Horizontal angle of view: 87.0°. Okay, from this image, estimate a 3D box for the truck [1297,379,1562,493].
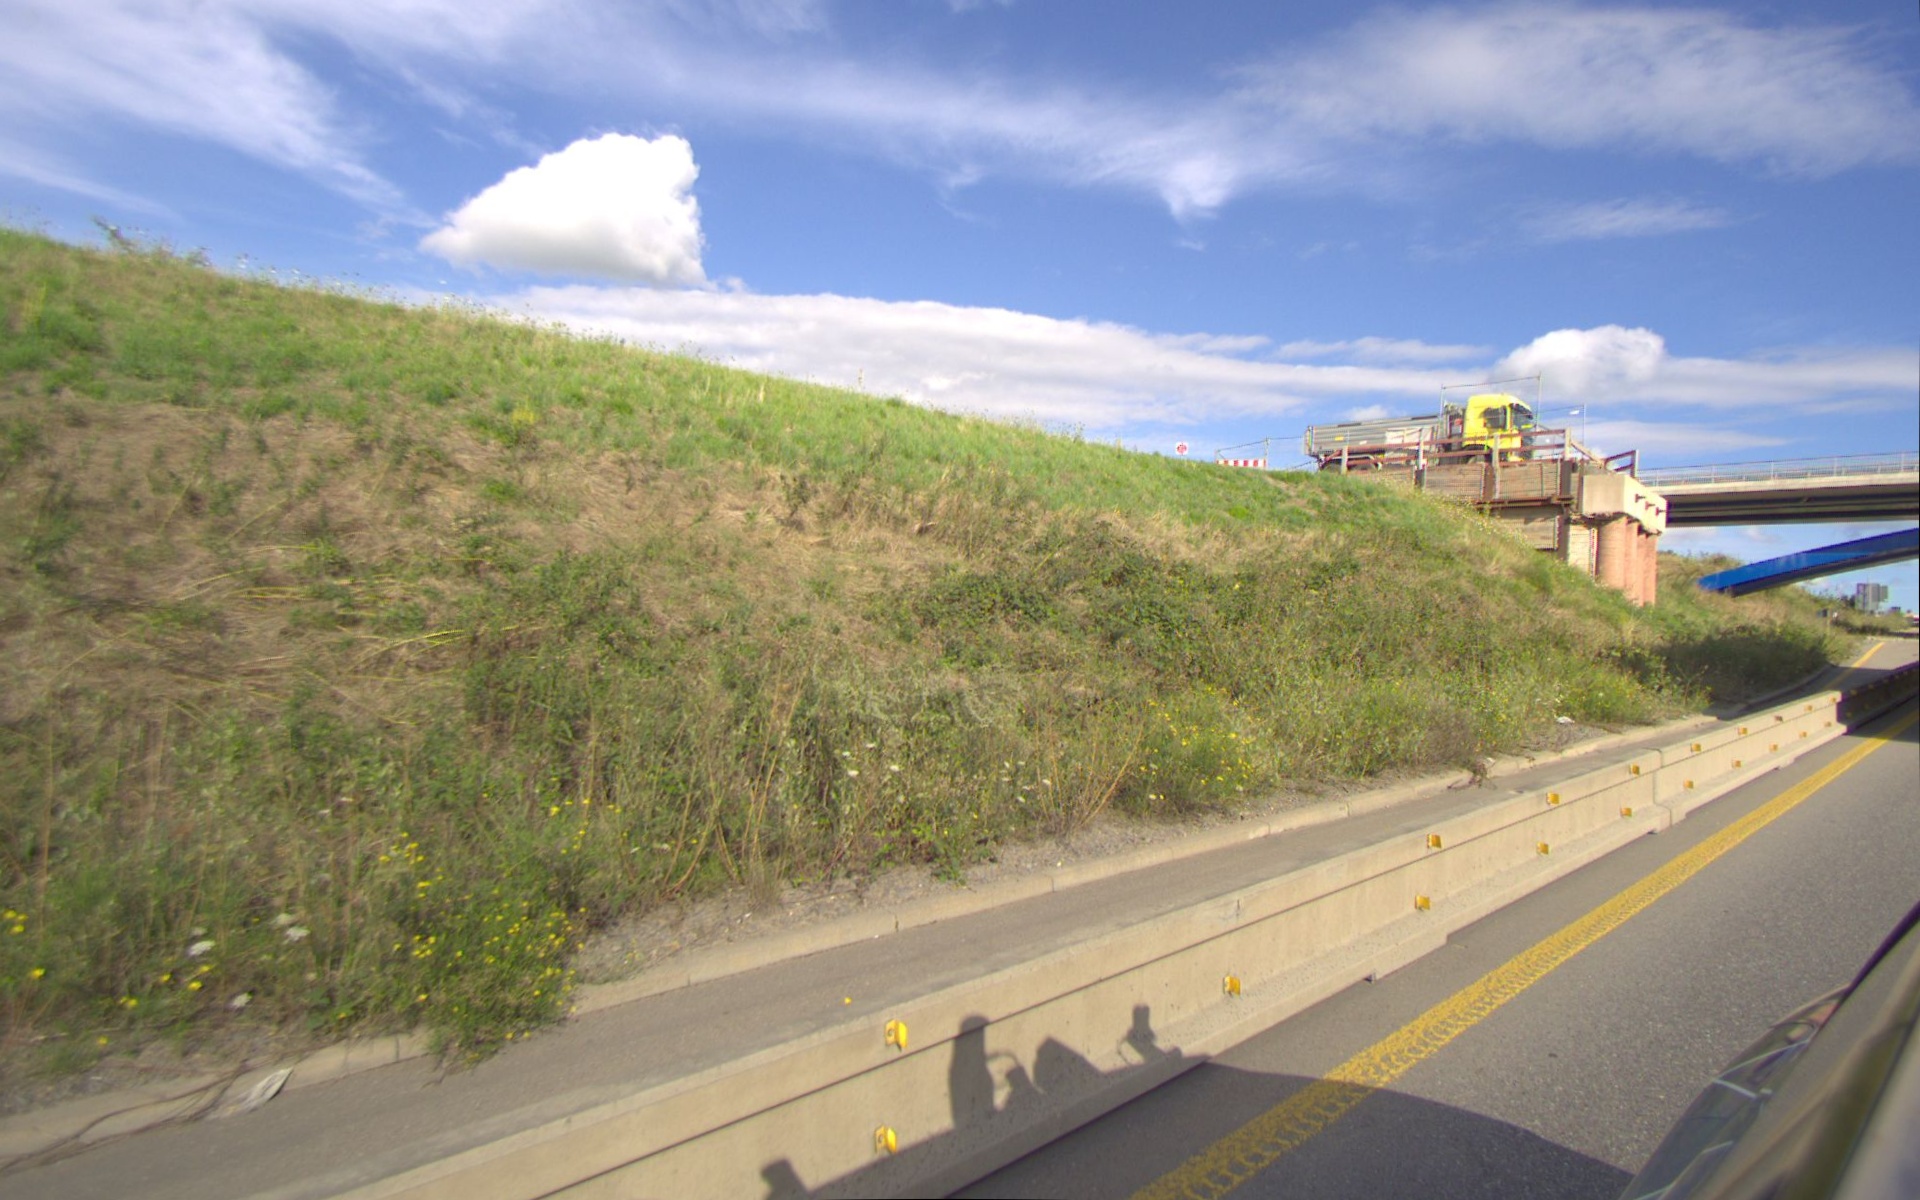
[{"bbox_3d":[18.585,-6.348,40.695,2.910,3.268,9.271,1,0,-44],"label":"truck"}]
